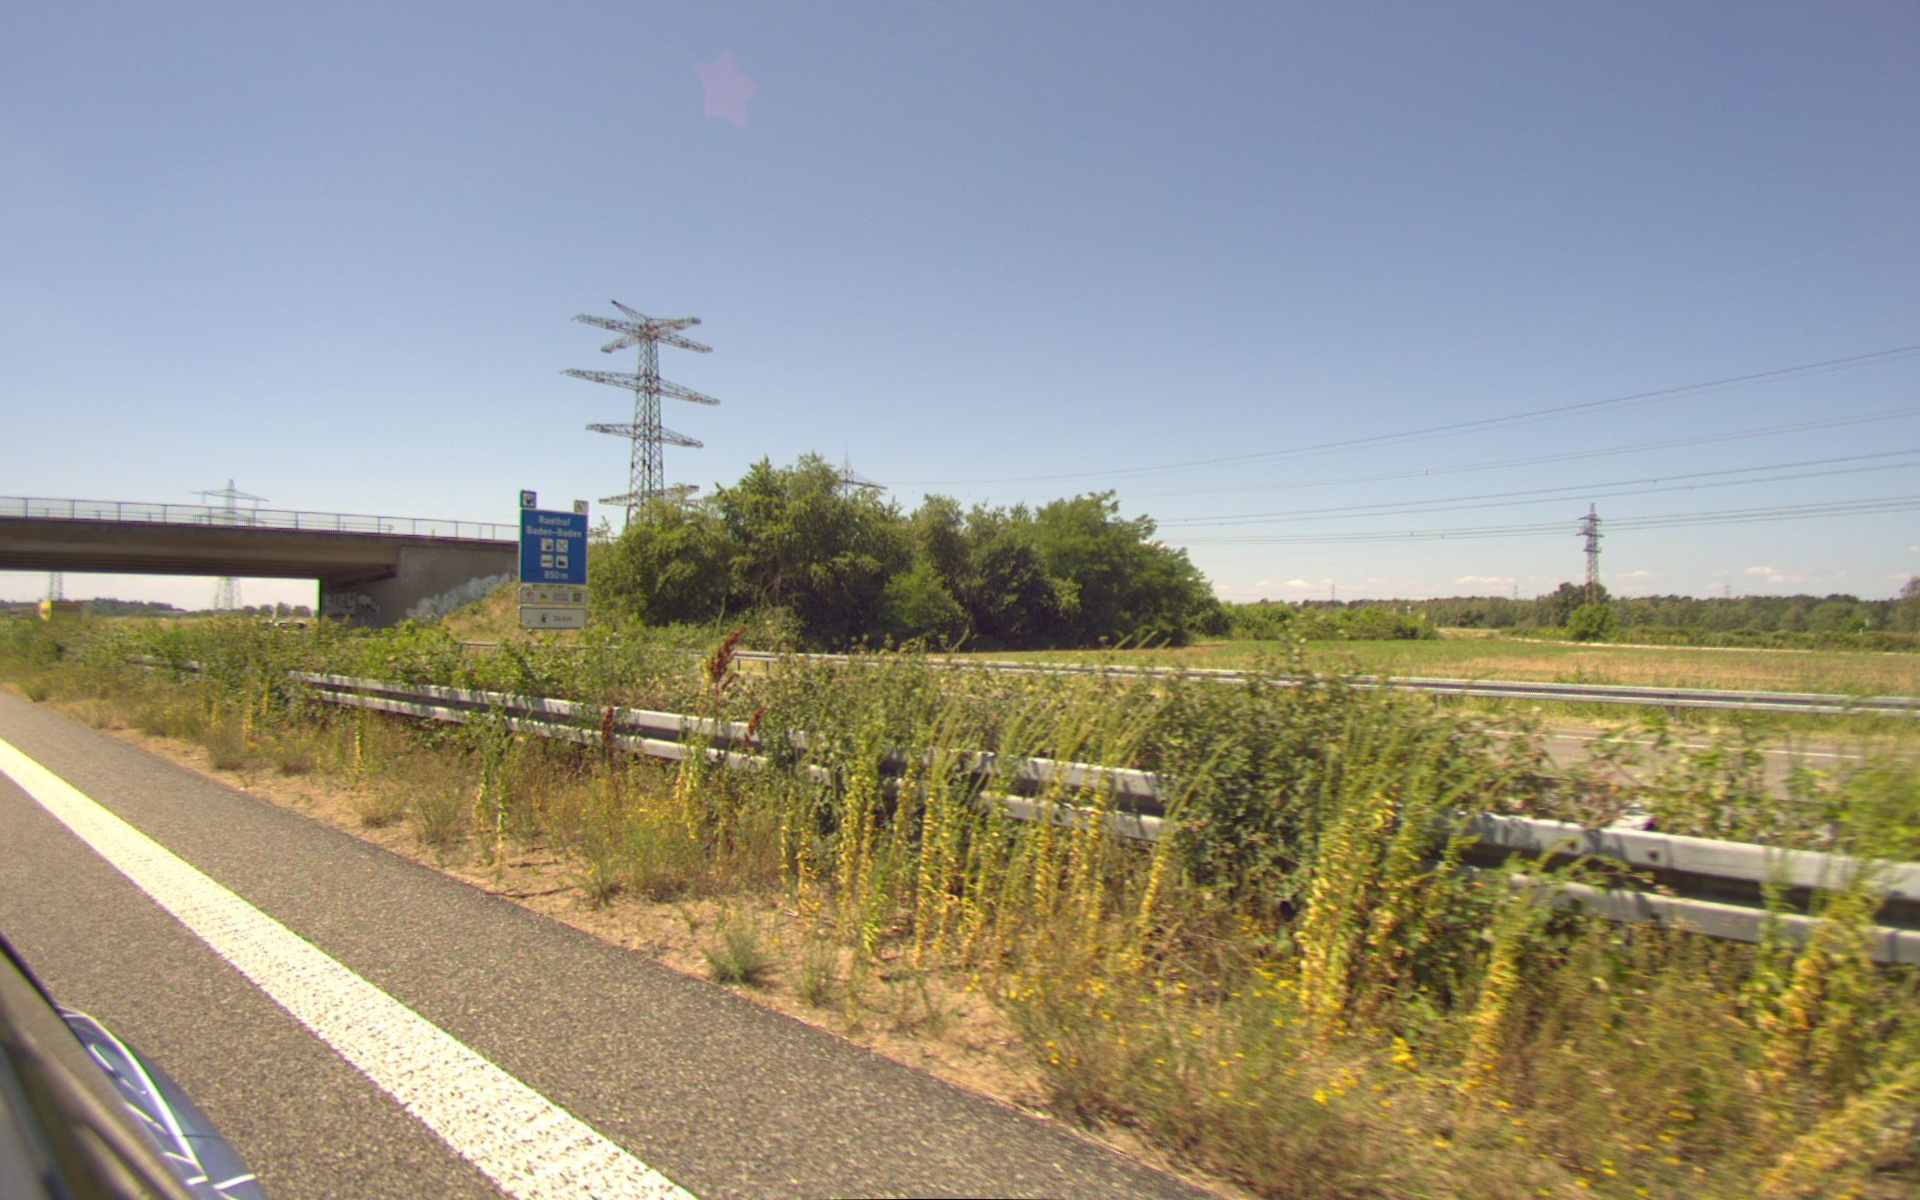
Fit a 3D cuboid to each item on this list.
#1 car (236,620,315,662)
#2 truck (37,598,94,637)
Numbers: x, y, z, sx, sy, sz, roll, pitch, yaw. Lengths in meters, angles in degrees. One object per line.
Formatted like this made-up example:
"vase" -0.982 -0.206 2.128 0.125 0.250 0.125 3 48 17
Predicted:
"car" -29.279 1.720 43.273 4.010 1.664 1.822 -2 -1 41
"truck" -93.583 1.847 105.817 8.658 3.892 3.475 -1 -1 42
